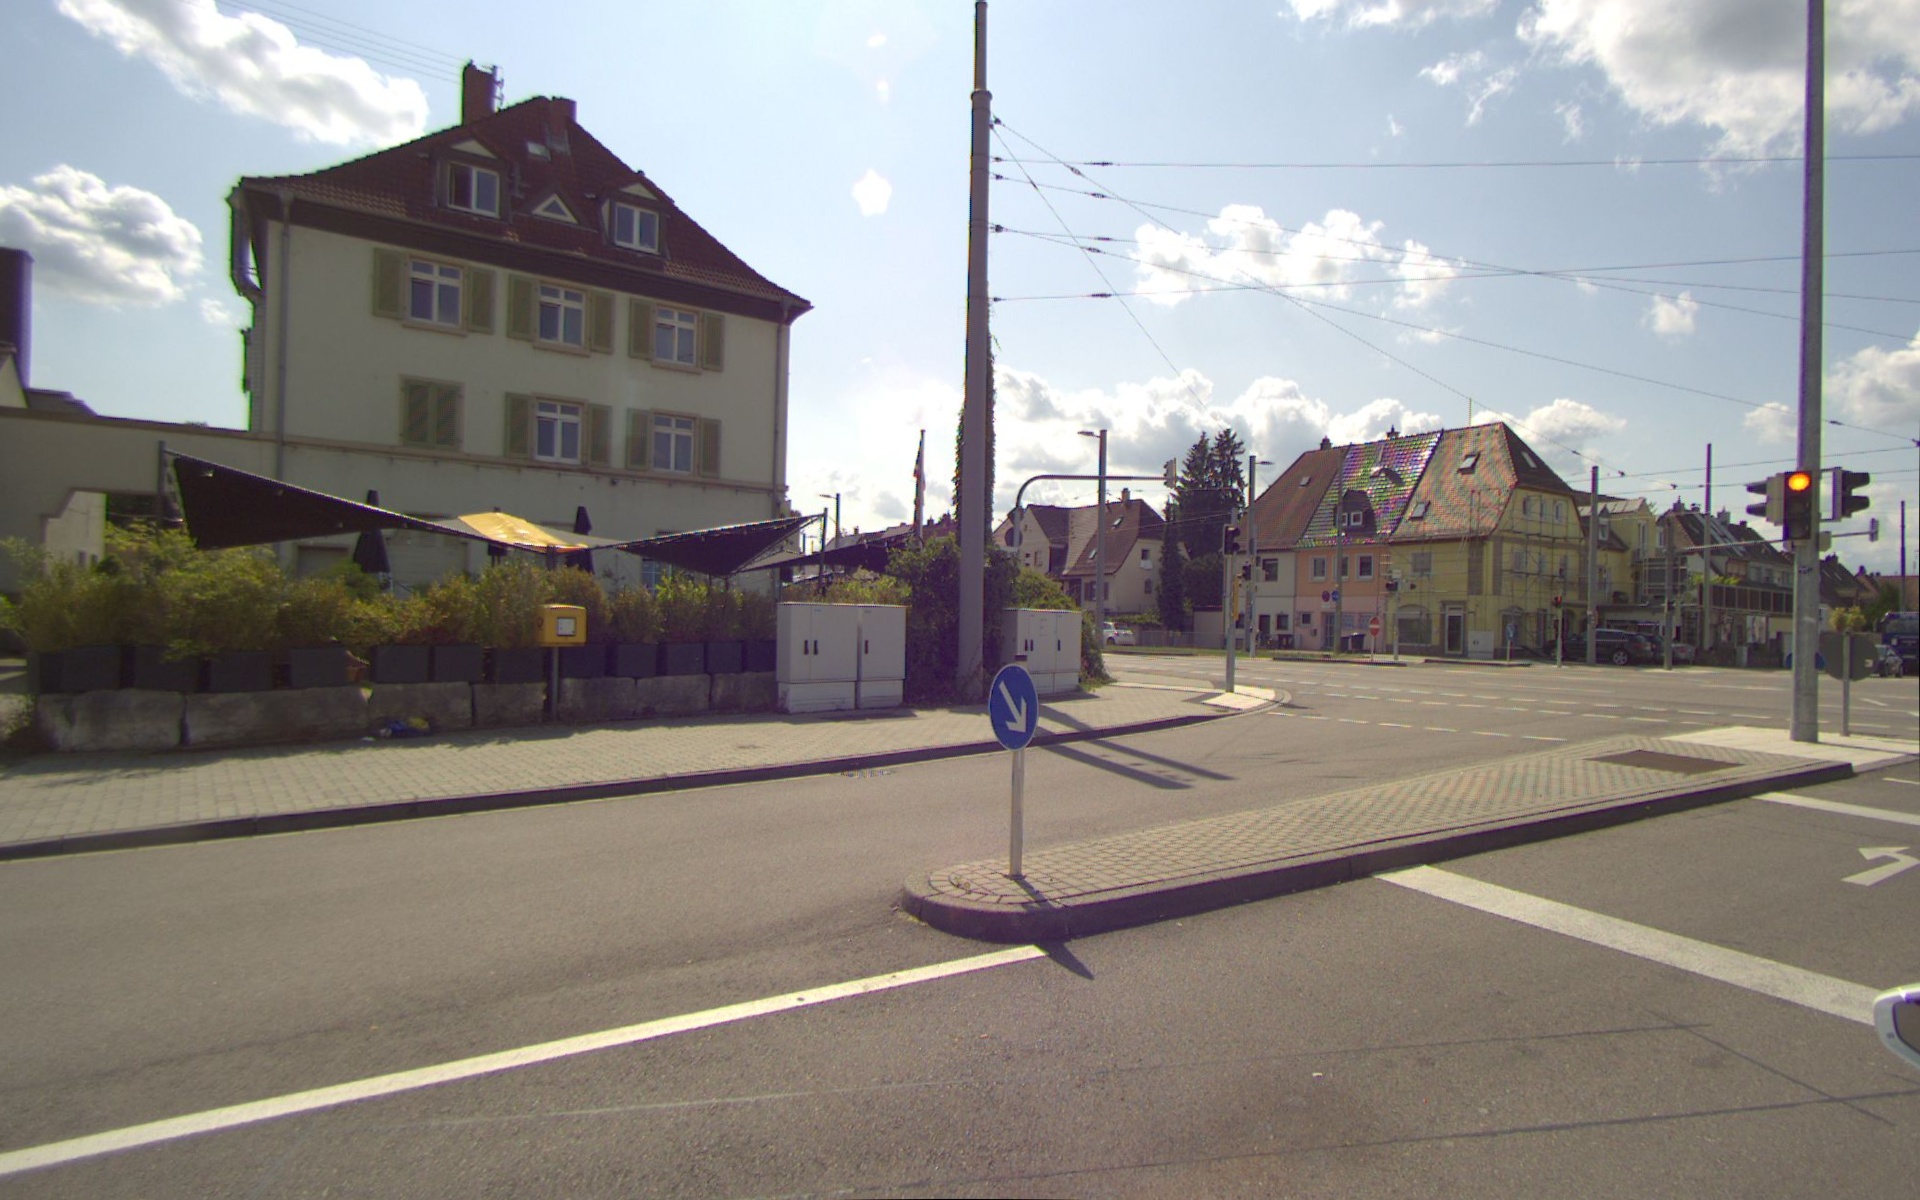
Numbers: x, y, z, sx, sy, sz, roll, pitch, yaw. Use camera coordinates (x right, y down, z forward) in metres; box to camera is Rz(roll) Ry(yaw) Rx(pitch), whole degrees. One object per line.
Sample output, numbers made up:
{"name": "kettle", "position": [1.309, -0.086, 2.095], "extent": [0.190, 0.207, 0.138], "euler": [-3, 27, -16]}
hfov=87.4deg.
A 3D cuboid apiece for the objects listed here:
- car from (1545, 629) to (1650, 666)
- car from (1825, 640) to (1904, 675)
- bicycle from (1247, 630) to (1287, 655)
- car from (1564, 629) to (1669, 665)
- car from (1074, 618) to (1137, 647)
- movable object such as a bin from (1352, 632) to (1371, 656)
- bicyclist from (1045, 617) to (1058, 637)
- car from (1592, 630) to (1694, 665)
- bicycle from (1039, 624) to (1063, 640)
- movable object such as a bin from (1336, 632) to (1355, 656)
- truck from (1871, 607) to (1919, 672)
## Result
{"name": "car", "position": [30.747, 2.249, 48.560], "extent": [1.168, 1.513, 4.103], "euler": [2, 0, -37]}
{"name": "car", "position": [41.590, 2.634, 46.181], "extent": [4.291, 1.506, 1.816], "euler": [3, -2, -35]}
{"name": "bicycle", "position": [18.060, 2.498, 59.085], "extent": [2.428, 1.374, 0.770], "euler": [2, 0, -29]}
{"name": "car", "position": [32.806, 2.316, 50.299], "extent": [1.493, 1.513, 4.103], "euler": [2, 0, -37]}
{"name": "car", "position": [8.297, 1.860, 57.417], "extent": [1.569, 1.528, 3.517], "euler": [2, 0, -34]}
{"name": "movable object such as a bin", "position": [22.027, 2.415, 55.155], "extent": [0.674, 1.277, 0.677], "euler": [2, 0, -33]}
{"name": "bicyclist", "position": [6.533, 1.950, 71.906], "extent": [0.571, 1.416, 0.718], "euler": [1, -1, -33]}
{"name": "car", "position": [35.095, 2.429, 51.692], "extent": [1.422, 1.513, 4.103], "euler": [2, 0, -37]}
{"name": "bicycle", "position": [6.503, 2.289, 71.916], "extent": [0.687, 1.092, 1.889], "euler": [1, -1, -33]}
{"name": "movable object such as a bin", "position": [20.900, 2.377, 54.468], "extent": [0.674, 1.277, 0.677], "euler": [2, 0, -33]}
{"name": "truck", "position": [50.851, 2.144, 53.151], "extent": [7.516, 3.230, 2.747], "euler": [3, -2, -38]}
